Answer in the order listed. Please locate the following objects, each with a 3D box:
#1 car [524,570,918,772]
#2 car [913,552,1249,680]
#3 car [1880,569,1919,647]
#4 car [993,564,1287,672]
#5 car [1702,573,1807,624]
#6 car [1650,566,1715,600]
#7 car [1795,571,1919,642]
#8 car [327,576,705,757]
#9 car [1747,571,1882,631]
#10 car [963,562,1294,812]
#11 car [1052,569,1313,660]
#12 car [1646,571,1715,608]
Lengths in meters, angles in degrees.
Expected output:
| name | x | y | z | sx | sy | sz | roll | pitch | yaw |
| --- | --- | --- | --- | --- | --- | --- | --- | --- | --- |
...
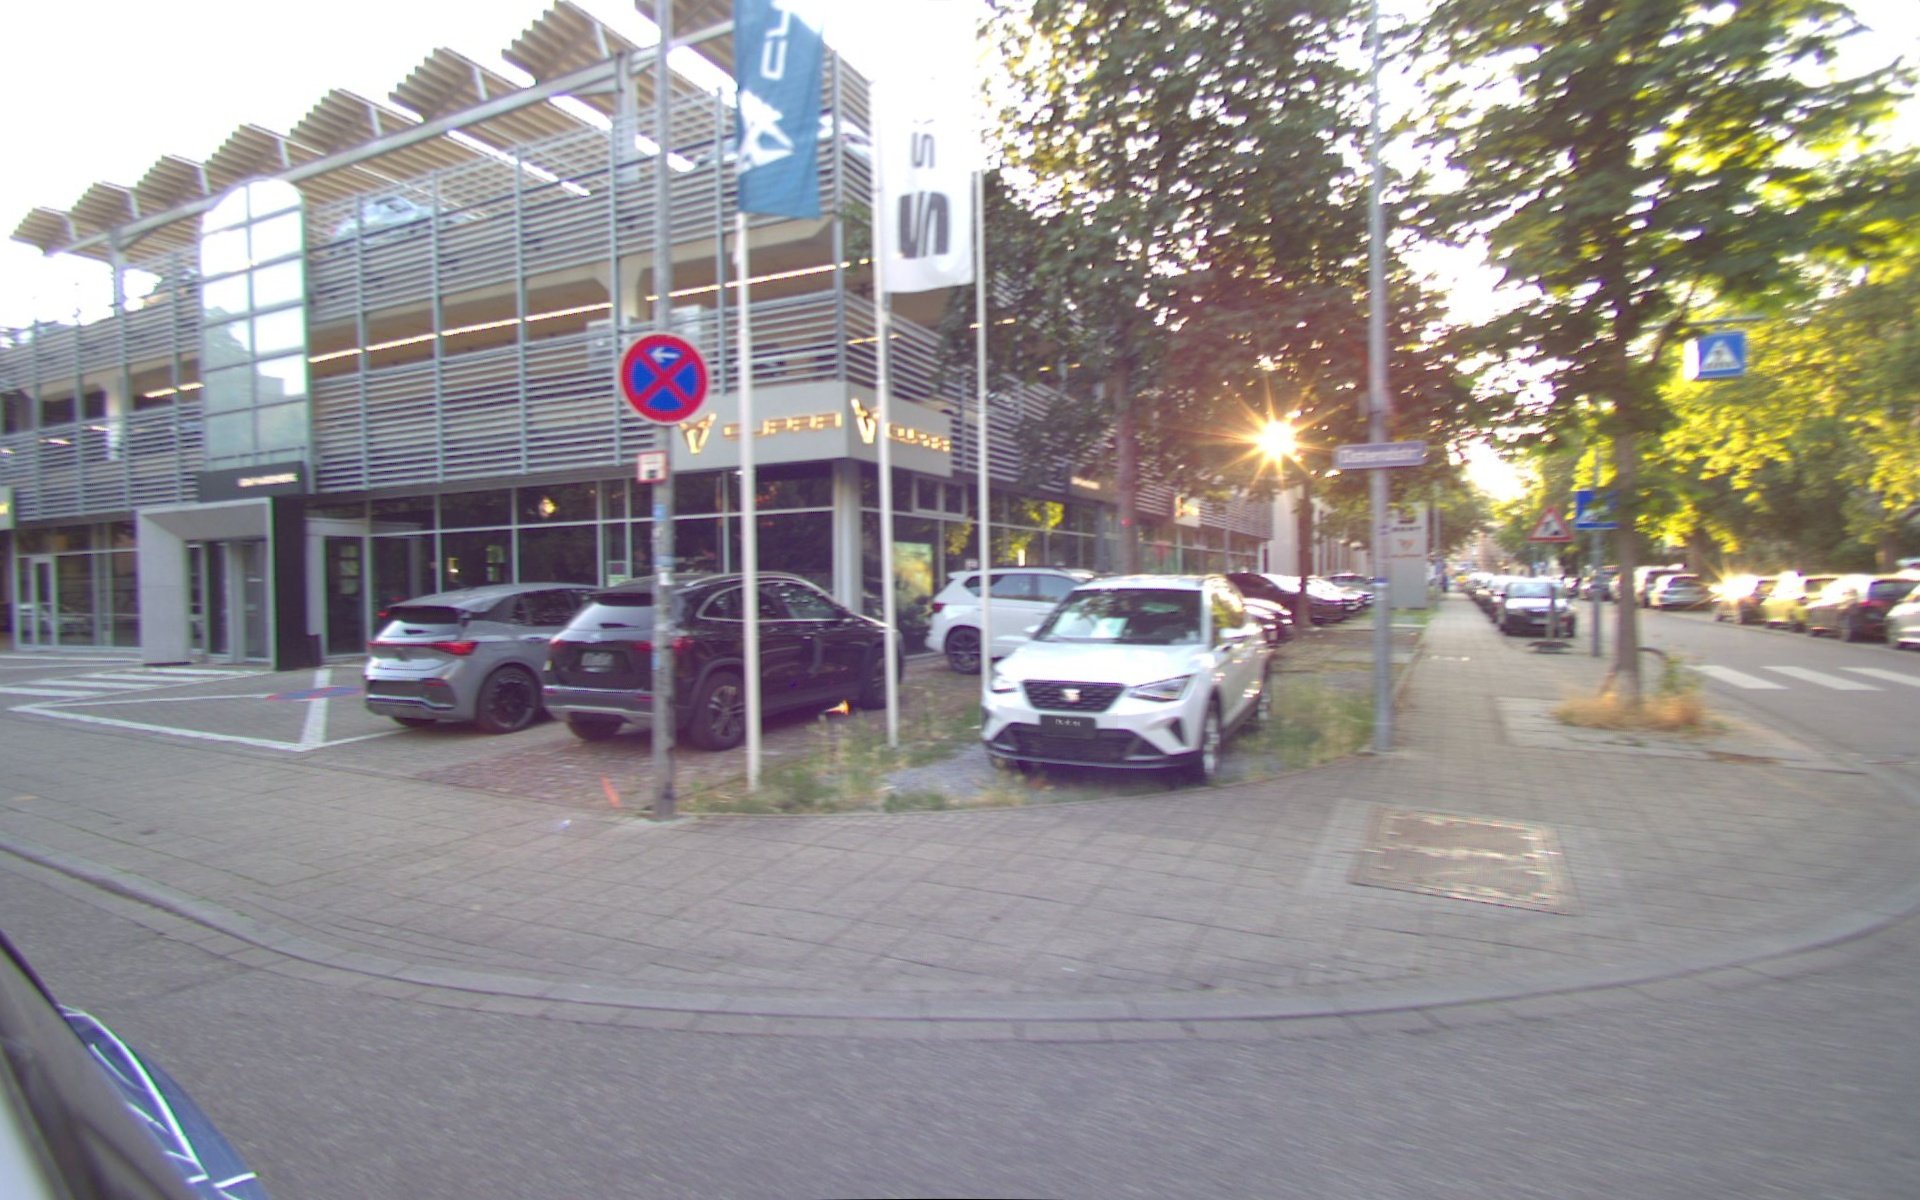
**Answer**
| name | x | y | z | sx | sy | sz | roll | pitch | yaw |
| --- | --- | --- | --- | --- | --- | --- | --- | --- | --- |
| car | -2.202 | 0.549 | 10.504 | 1.710 | 1.617 | 4.089 | -1 | 1 | 27 |
| car | 1.758 | 0.243 | 14.950 | 4.567 | 1.656 | 1.856 | -1 | 0 | 26 |
| car | 18.651 | 0.113 | 18.413 | 1.608 | 1.452 | 3.725 | -3 | -1 | 23 |
| car | 3.032 | 0.316 | 17.156 | 4.567 | 1.628 | 1.856 | -1 | 0 | 26 |
| car | 24.994 | -0.067 | 31.984 | 1.608 | 1.452 | 4.071 | -2 | 0 | 24 |
| car | 33.678 | -0.763 | 47.272 | 1.608 | 1.452 | 4.071 | -2 | 0 | 24 |
| car | 20.650 | 0.100 | 22.865 | 1.608 | 1.452 | 4.276 | -2 | 0 | 24 |
| car | -4.923 | 0.620 | 11.710 | 1.700 | 1.603 | 3.656 | -1 | 3 | 30 |
| car | 23.060 | 0.008 | 27.487 | 1.608 | 1.452 | 4.276 | -2 | 0 | 24 |
| car | 1.645 | 0.537 | 8.556 | 1.759 | 1.584 | 3.868 | -1 | 0 | 26 |
| car | 4.223 | 0.290 | 19.338 | 4.567 | 1.584 | 1.856 | -1 | 0 | 26 |
| car | 31.039 | -0.443 | 43.706 | 1.608 | 1.452 | 4.071 | -2 | 0 | 24 |
